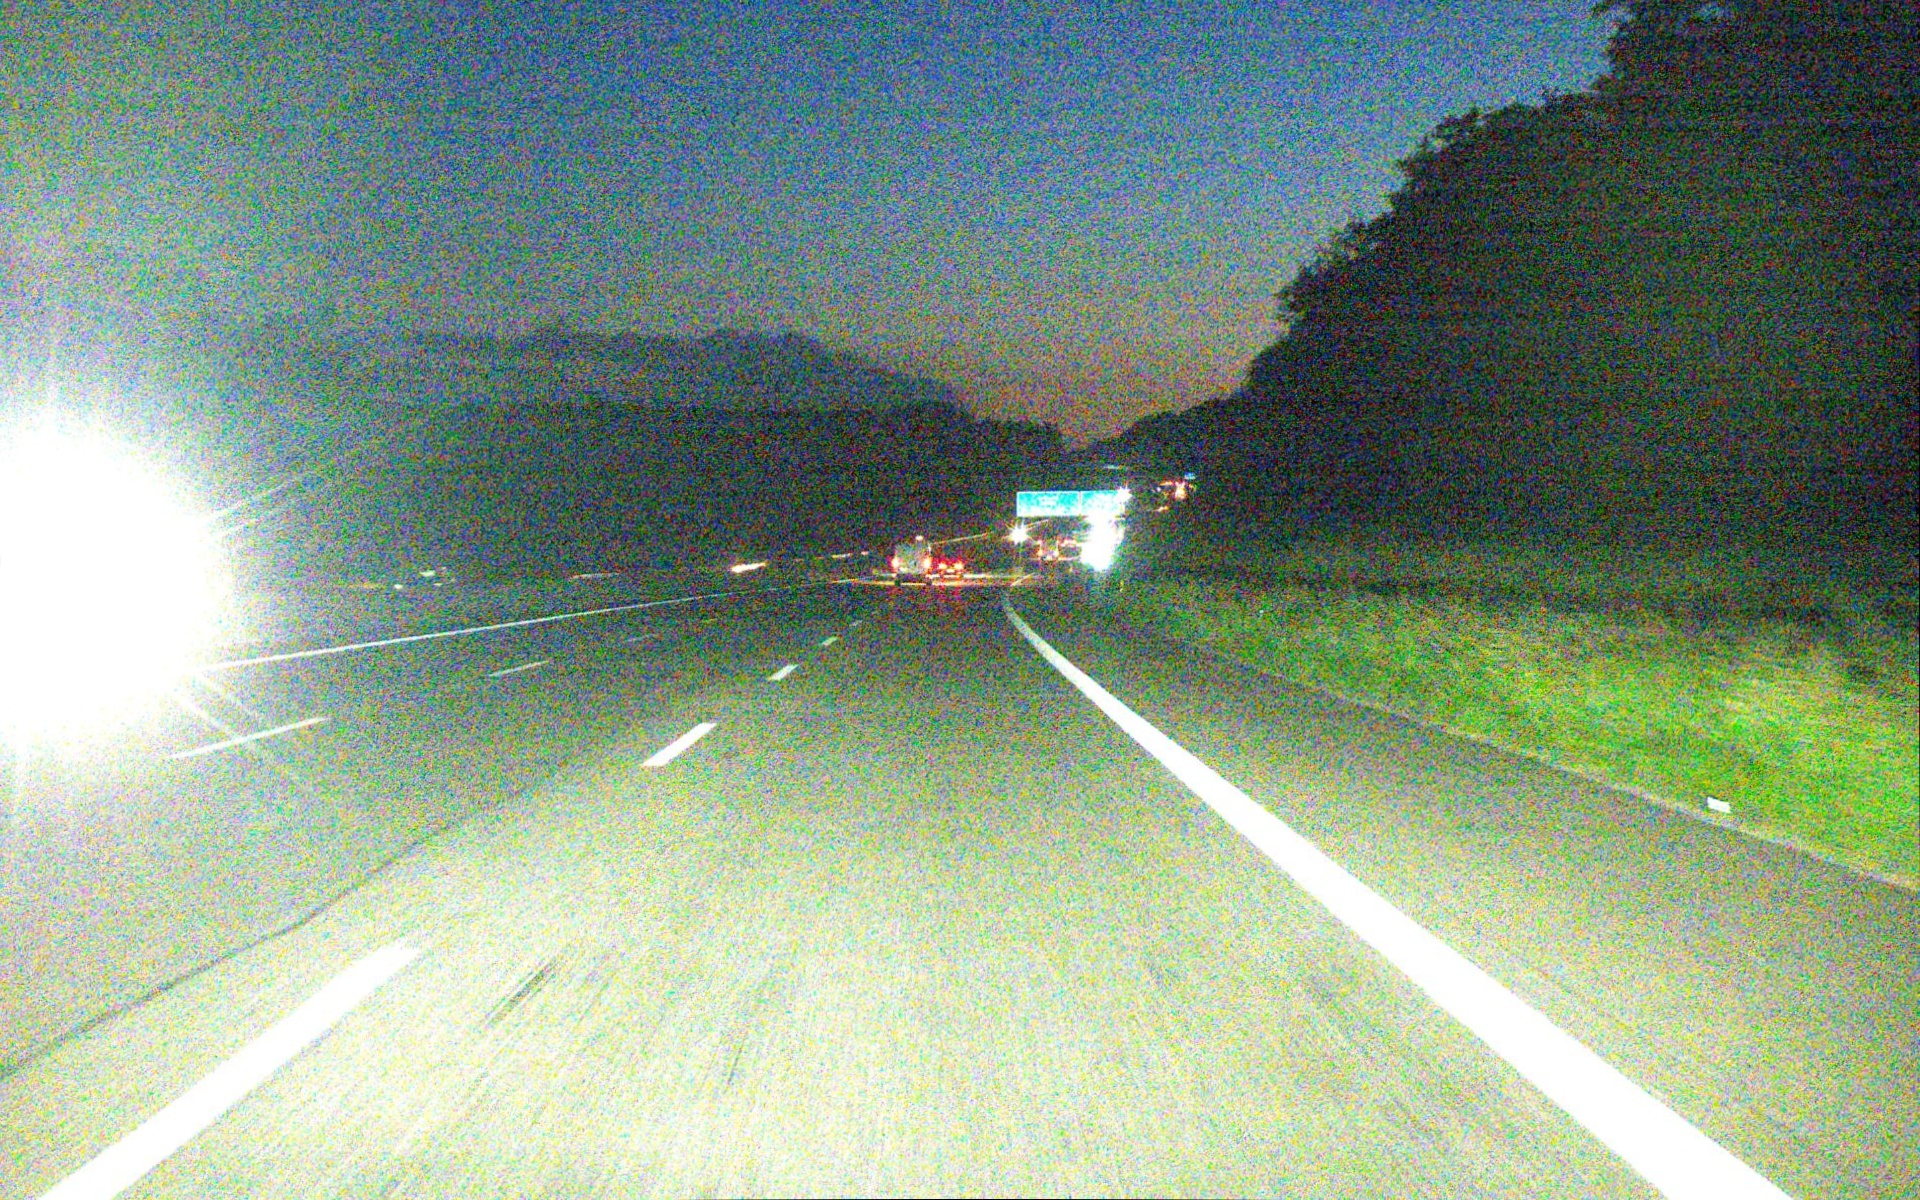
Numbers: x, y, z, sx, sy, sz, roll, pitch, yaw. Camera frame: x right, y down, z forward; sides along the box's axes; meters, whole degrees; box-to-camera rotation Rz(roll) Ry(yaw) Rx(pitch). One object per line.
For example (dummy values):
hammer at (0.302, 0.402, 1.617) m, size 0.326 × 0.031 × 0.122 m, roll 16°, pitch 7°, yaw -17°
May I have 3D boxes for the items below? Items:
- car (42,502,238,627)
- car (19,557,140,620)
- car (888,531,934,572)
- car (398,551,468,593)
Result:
car at (-19.491, -0.892, 82.211) m, size 2.953 × 2.847 × 7.718 m, roll 0°, pitch 1°, yaw -1°
car at (-23.297, -0.326, 91.165) m, size 2.051 × 1.593 × 5.078 m, roll 0°, pitch 1°, yaw -2°
car at (-2.771, -2.752, 195.707) m, size 2.511 × 2.306 × 4.970 m, roll 0°, pitch 1°, yaw 1°
car at (-19.145, -1.028, 124.968) m, size 1.861 × 1.492 × 4.705 m, roll 0°, pitch 1°, yaw 0°
